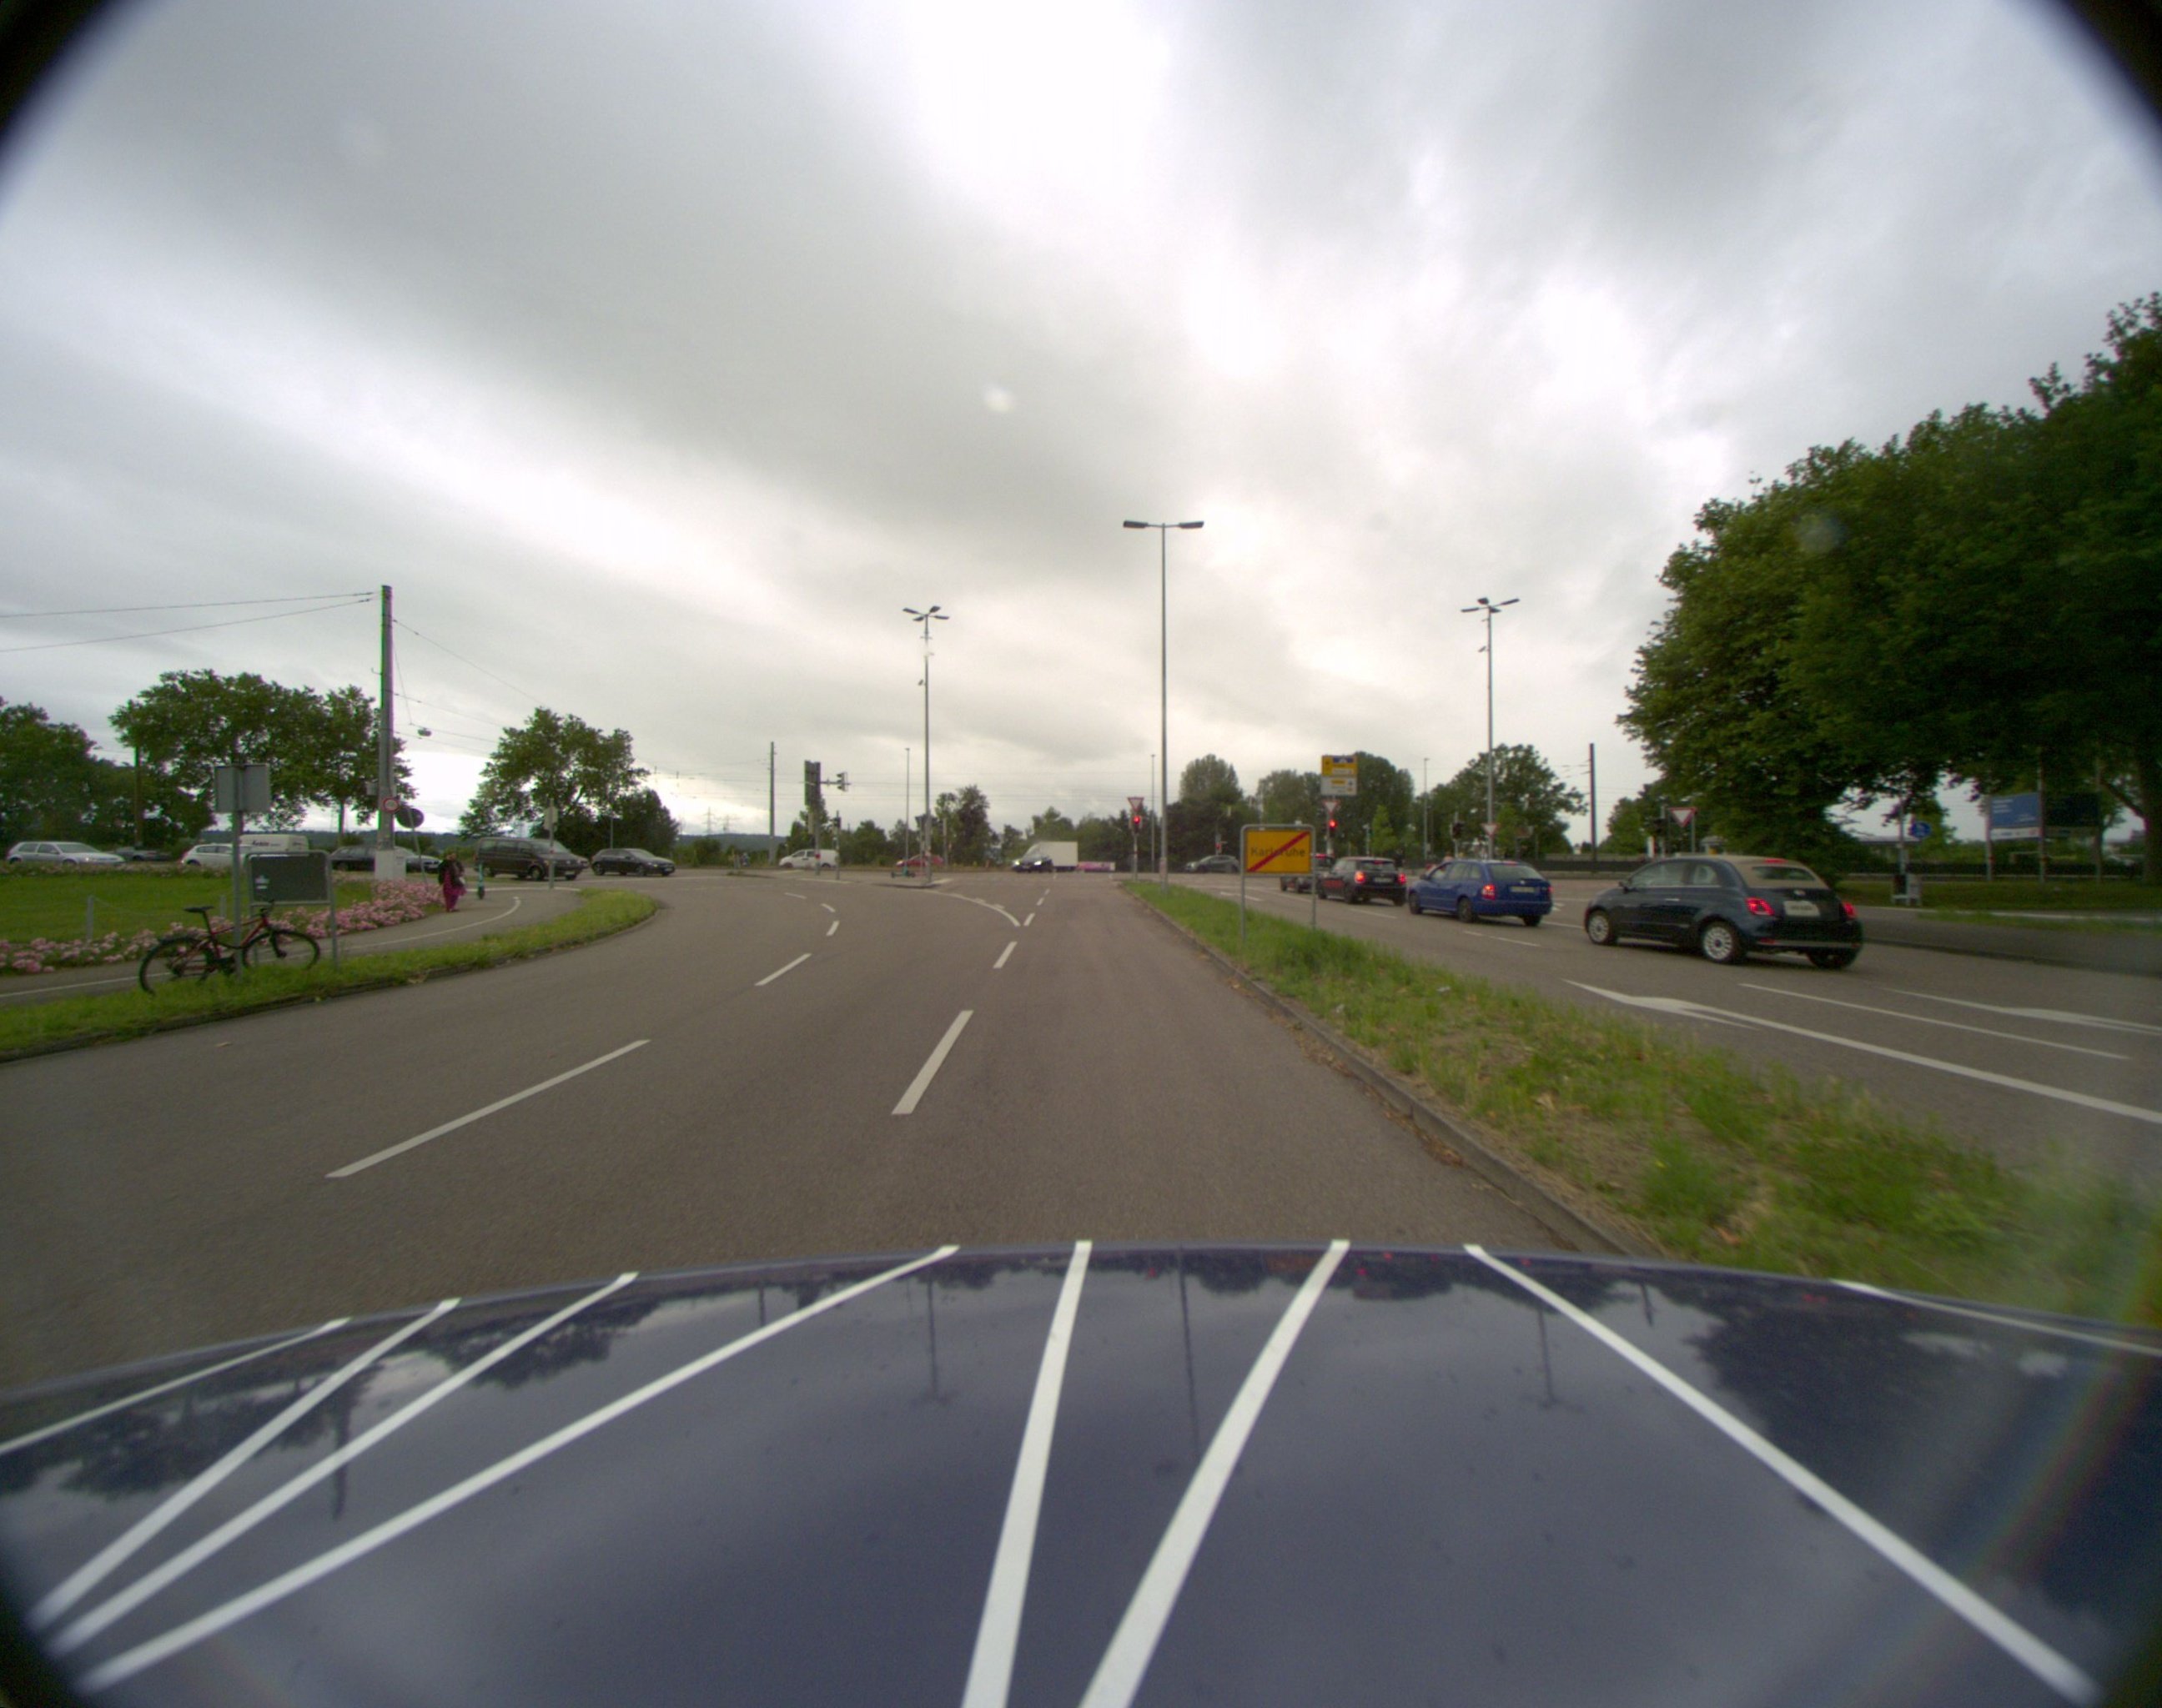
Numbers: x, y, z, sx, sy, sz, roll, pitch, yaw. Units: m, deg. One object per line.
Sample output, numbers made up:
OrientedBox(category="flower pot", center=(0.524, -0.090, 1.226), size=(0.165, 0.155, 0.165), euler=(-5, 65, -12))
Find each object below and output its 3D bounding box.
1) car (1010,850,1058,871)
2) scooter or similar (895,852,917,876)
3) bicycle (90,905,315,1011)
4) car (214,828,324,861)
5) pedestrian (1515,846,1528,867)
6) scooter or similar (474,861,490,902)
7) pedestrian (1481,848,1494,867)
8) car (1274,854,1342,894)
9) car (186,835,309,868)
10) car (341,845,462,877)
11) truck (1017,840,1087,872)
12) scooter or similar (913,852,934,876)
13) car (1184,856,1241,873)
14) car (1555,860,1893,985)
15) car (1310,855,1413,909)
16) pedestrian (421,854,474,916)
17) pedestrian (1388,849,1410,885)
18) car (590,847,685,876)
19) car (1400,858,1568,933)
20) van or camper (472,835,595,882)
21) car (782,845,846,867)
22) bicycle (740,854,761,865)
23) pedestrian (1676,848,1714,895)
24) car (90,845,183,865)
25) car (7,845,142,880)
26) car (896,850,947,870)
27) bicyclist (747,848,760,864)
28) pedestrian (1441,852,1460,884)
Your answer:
OrientedBox(category="car", center=(-3.189, 0.401, 52.123), size=(1.996, 1.383, 4.348), euler=(-1, 0, 15))
OrientedBox(category="scooter or similar", center=(-9.349, 0.552, 40.573), size=(1.113, 1.249, 0.321), euler=(1, 2, 13))
OrientedBox(category="bicycle", center=(-10.588, 1.205, 9.260), size=(0.664, 1.042, 1.692), euler=(-1, 1, 6))
OrientedBox(category="car", center=(-67.973, -0.745, 63.702), size=(5.898, 2.609, 2.664), euler=(1, -2, -6))
OrientedBox(category="pedestrian", center=(36.133, 0.221, 62.347), size=(0.586, 1.731, 0.788), euler=(-1, -2, 2))
OrientedBox(category="scooter or similar", center=(-18.862, 0.859, 23.926), size=(0.347, 1.226, 1.162), euler=(-3, 2, -38))
OrientedBox(category="pedestrian", center=(32.982, 0.276, 61.685), size=(0.632, 1.550, 0.711), euler=(-1, -2, 2))
OrientedBox(category="car", center=(8.771, 0.743, 29.570), size=(1.607, 1.494, 3.209), euler=(0, 0, -1))
OrientedBox(category="car", center=(-40.766, -0.091, 37.230), size=(4.043, 1.529, 1.734), euler=(0, -2, 0))
OrientedBox(category="car", center=(-33.149, 0.329, 37.147), size=(4.316, 1.455, 1.970), euler=(1, 0, 5))
OrientedBox(category="truck", center=(-2.801, 0.198, 72.068), size=(6.542, 2.905, 2.828), euler=(0, -2, -5))
OrientedBox(category="scooter or similar", center=(-8.488, 0.547, 40.913), size=(1.016, 1.249, 0.465), euler=(1, 2, 13))
OrientedBox(category="car", center=(10.886, 0.868, 62.942), size=(4.373, 1.400, 1.676), euler=(0, -2, -11))
OrientedBox(category="car", center=(9.227, 0.867, 11.437), size=(1.606, 1.489, 4.037), euler=(2, 0, -1))
OrientedBox(category="car", center=(8.731, 0.799, 24.040), size=(1.666, 1.494, 4.064), euler=(2, 0, -1))
OrientedBox(category="pedestrian", center=(-16.890, 0.819, 20.266), size=(0.782, 1.588, 0.717), euler=(1, 3, 17))
OrientedBox(category="pedestrian", center=(16.255, 0.654, 38.810), size=(0.664, 1.756, 0.686), euler=(3, 4, -3))
OrientedBox(category="car", center=(-23.515, 0.382, 40.292), size=(4.200, 1.455, 1.839), euler=(0, 0, 13))
OrientedBox(category="car", center=(9.108, 0.866, 17.600), size=(1.606, 1.436, 4.143), euler=(2, 0, -1))
OrientedBox(category="van or camper", center=(-25.649, 0.172, 35.638), size=(4.743, 2.002, 2.126), euler=(1, 2, 16))
OrientedBox(category="car", center=(-23.837, 0.179, 67.974), size=(5.122, 1.868, 2.099), euler=(1, -2, -12))
OrientedBox(category="bicycle", center=(-30.379, 0.509, 69.869), size=(1.710, 1.040, 0.548), euler=(1, 2, -14))
OrientedBox(category="pedestrian", center=(21.703, 0.612, 26.867), size=(0.635, 1.633, 0.809), euler=(-1, 2, -3))
OrientedBox(category="car", center=(-72.559, 0.085, 58.429), size=(4.343, 1.382, 1.876), euler=(1, -2, -7))
OrientedBox(category="car", center=(-49.305, 0.436, 37.288), size=(4.073, 1.592, 1.747), euler=(-1, -2, -2))
OrientedBox(category="car", center=(-13.717, 0.522, 65.407), size=(4.251, 1.641, 1.783), euler=(1, -2, -13))
OrientedBox(category="bicyclist", center=(-30.120, 0.151, 69.854), size=(0.968, 1.445, 0.691), euler=(1, 2, -14))
OrientedBox(category="pedestrian", center=(19.789, 0.728, 40.667), size=(0.675, 1.702, 0.766), euler=(0, 1, 4))
